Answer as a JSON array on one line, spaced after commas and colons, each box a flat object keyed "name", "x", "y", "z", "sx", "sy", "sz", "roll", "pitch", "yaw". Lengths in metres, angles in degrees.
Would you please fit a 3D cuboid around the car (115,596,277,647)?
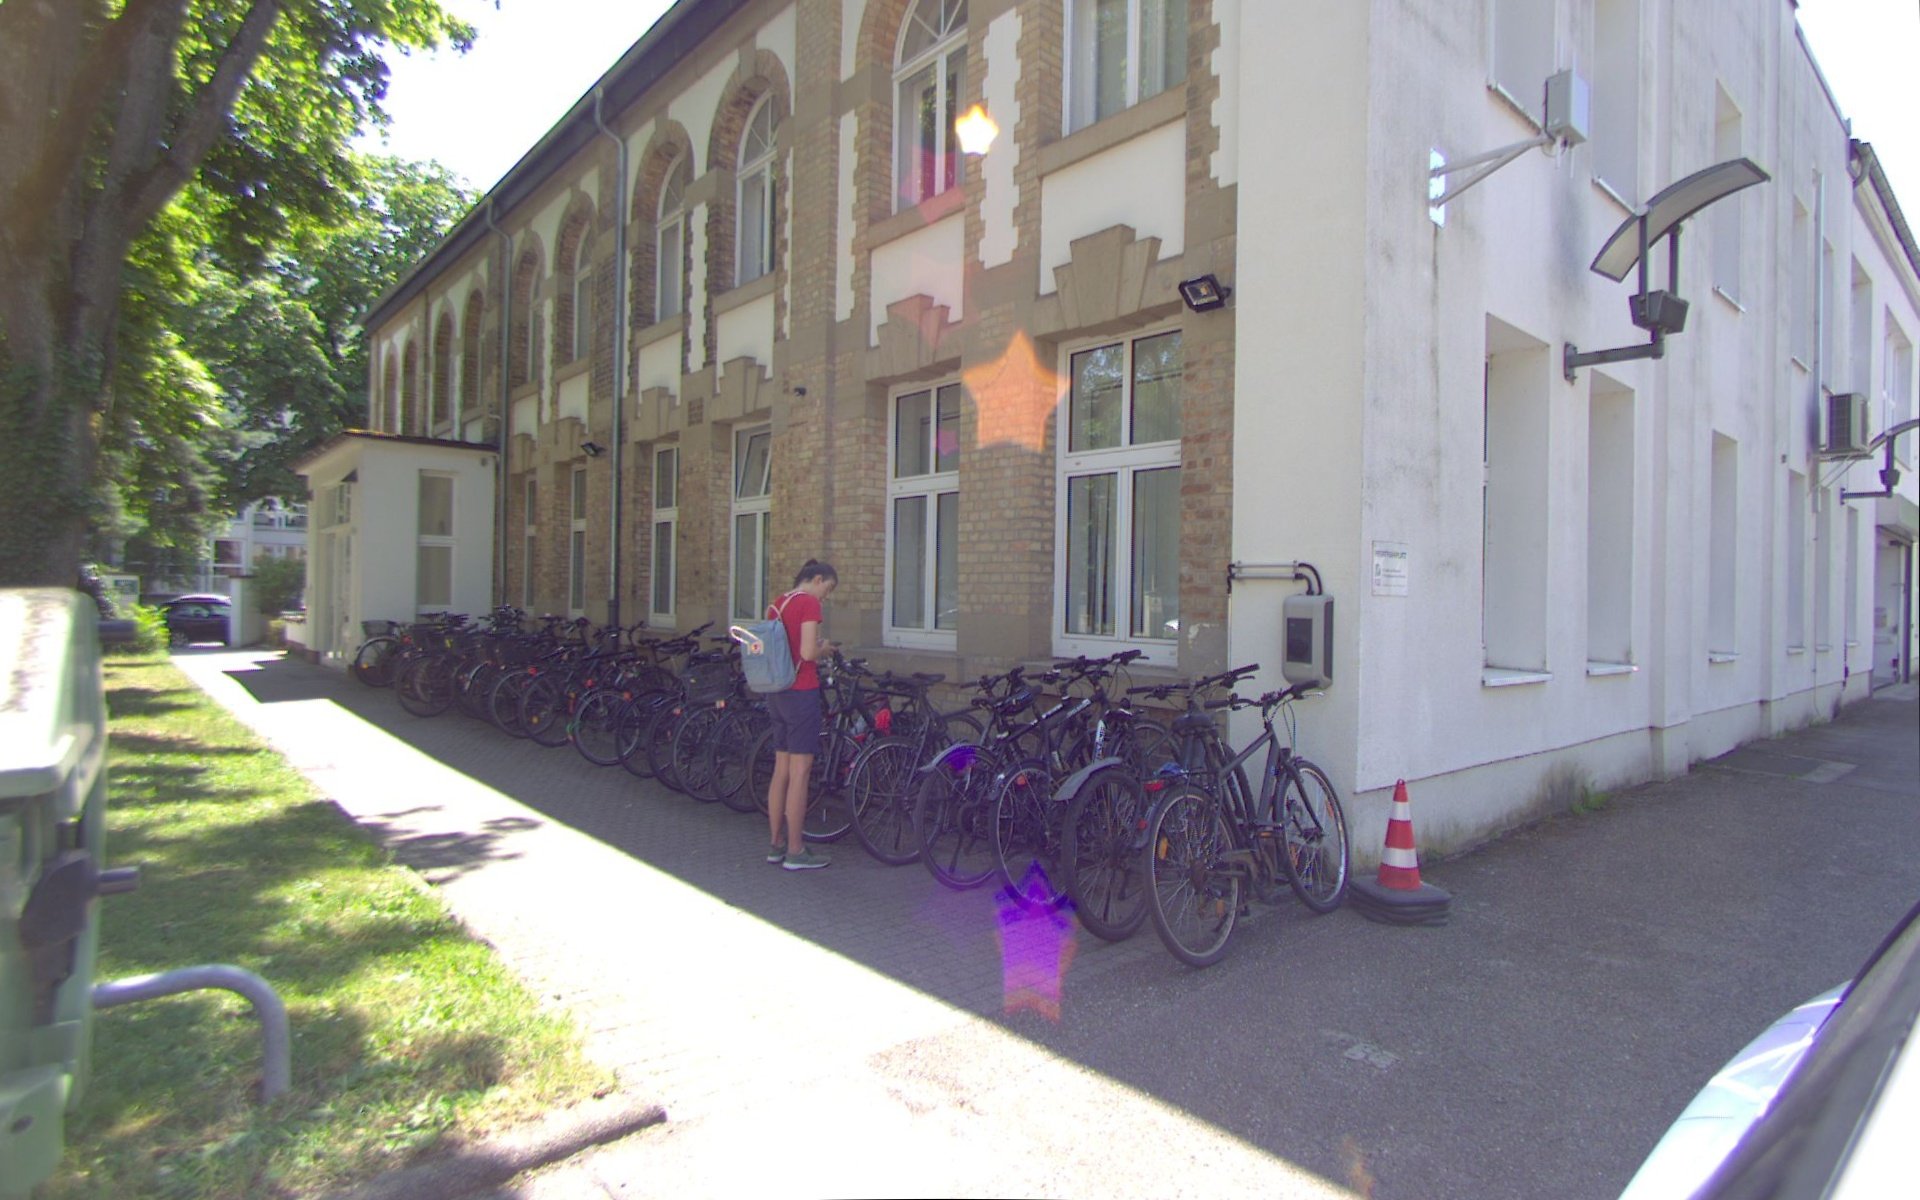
[{"name": "car", "x": -22.455, "y": 0.593, "z": 29.888, "sx": 1.634, "sy": 1.359, "sz": 3.504, "roll": 1, "pitch": 1, "yaw": 22}]

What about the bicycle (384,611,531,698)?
[{"name": "bicycle", "x": -6.970, "y": 0.722, "z": 14.094, "sx": 1.794, "sy": 1.115, "sz": 0.405, "roll": 0, "pitch": 1, "yaw": -41}]

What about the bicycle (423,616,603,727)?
[{"name": "bicycle", "x": -4.938, "y": 0.752, "z": 11.264, "sx": 1.794, "sy": 1.115, "sz": 0.405, "roll": 0, "pitch": 1, "yaw": -41}]

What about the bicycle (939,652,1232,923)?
[{"name": "bicycle", "x": 0.713, "y": 0.874, "z": 5.244, "sx": 1.794, "sy": 1.115, "sz": 0.405, "roll": 0, "pitch": 1, "yaw": -41}]

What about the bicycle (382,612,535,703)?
[{"name": "bicycle", "x": -6.665, "y": 0.733, "z": 13.516, "sx": 1.794, "sy": 1.115, "sz": 0.405, "roll": 0, "pitch": 1, "yaw": -41}]

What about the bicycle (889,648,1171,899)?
[{"name": "bicycle", "x": 0.448, "y": 0.867, "z": 5.596, "sx": 1.794, "sy": 1.115, "sz": 0.405, "roll": 0, "pitch": 1, "yaw": -41}]

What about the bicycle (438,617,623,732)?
[{"name": "bicycle", "x": -4.574, "y": 0.760, "z": 10.869, "sx": 1.794, "sy": 1.115, "sz": 0.405, "roll": 0, "pitch": 1, "yaw": -41}]

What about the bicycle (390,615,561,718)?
[{"name": "bicycle", "x": -5.751, "y": 0.759, "z": 12.088, "sx": 1.794, "sy": 1.115, "sz": 0.405, "roll": 0, "pitch": 1, "yaw": -41}]

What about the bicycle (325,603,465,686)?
[{"name": "bicycle", "x": -8.616, "y": 0.649, "z": 15.494, "sx": 1.795, "sy": 1.115, "sz": 0.405, "roll": -4, "pitch": 3, "yaw": -41}]

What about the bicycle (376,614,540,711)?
[{"name": "bicycle", "x": -6.246, "y": 0.748, "z": 12.668, "sx": 1.794, "sy": 1.115, "sz": 0.405, "roll": 0, "pitch": 1, "yaw": -41}]

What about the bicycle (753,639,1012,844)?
[{"name": "bicycle", "x": -0.450, "y": 0.847, "z": 6.607, "sx": 1.794, "sy": 1.115, "sz": 0.405, "roll": 0, "pitch": 1, "yaw": -41}]

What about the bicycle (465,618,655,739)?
[{"name": "bicycle", "x": -4.086, "y": 0.769, "z": 10.438, "sx": 1.794, "sy": 1.115, "sz": 0.405, "roll": 0, "pitch": 1, "yaw": -41}]

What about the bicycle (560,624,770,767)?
[{"name": "bicycle", "x": -2.587, "y": 0.799, "z": 9.026, "sx": 1.794, "sy": 1.115, "sz": 0.405, "roll": 0, "pitch": 1, "yaw": -41}]

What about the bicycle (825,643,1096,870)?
[{"name": "bicycle", "x": 0.061, "y": 0.858, "z": 6.069, "sx": 1.794, "sy": 1.115, "sz": 0.405, "roll": 0, "pitch": 1, "yaw": -41}]

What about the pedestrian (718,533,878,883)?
[{"name": "pedestrian", "x": -0.890, "y": 0.543, "z": 5.556, "sx": 0.677, "sy": 1.770, "sz": 0.552, "roll": 0, "pitch": 0, "yaw": -39}]

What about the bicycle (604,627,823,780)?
[{"name": "bicycle", "x": -2.022, "y": 0.810, "z": 8.490, "sx": 1.794, "sy": 1.115, "sz": 0.405, "roll": 0, "pitch": 1, "yaw": -41}]

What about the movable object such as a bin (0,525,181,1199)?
[{"name": "movable object such as a bin", "x": -1.776, "y": 0.651, "z": 1.172, "sx": 1.352, "sy": 1.476, "sz": 1.078, "roll": 0, "pitch": 1, "yaw": -40}]

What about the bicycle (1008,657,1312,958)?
[{"name": "bicycle", "x": 1.021, "y": 0.881, "z": 4.828, "sx": 1.794, "sy": 1.115, "sz": 0.405, "roll": 0, "pitch": 1, "yaw": -41}]

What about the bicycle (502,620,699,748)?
[{"name": "bicycle", "x": -3.491, "y": 0.780, "z": 9.944, "sx": 1.794, "sy": 1.115, "sz": 0.405, "roll": 0, "pitch": 1, "yaw": -41}]

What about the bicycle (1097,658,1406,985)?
[{"name": "bicycle", "x": 1.361, "y": 0.865, "z": 4.501, "sx": 1.794, "sy": 1.115, "sz": 0.405, "roll": 0, "pitch": 1, "yaw": -41}]

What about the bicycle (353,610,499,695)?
[{"name": "bicycle", "x": -7.555, "y": 0.715, "z": 14.371, "sx": 1.794, "sy": 1.115, "sz": 0.405, "roll": 0, "pitch": 1, "yaw": -41}]

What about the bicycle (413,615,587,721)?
[{"name": "bicycle", "x": -5.267, "y": 0.744, "z": 11.670, "sx": 1.794, "sy": 1.115, "sz": 0.405, "roll": 0, "pitch": 1, "yaw": -41}]

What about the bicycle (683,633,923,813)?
[{"name": "bicycle", "x": -1.096, "y": 0.831, "z": 7.390, "sx": 1.794, "sy": 1.115, "sz": 0.405, "roll": 0, "pitch": 1, "yaw": -41}]

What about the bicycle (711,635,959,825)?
[{"name": "bicycle", "x": -0.819, "y": 0.838, "z": 7.046, "sx": 1.794, "sy": 1.115, "sz": 0.405, "roll": 0, "pitch": 1, "yaw": -41}]

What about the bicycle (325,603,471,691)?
[{"name": "bicycle", "x": -8.217, "y": 0.661, "z": 14.858, "sx": 1.795, "sy": 1.115, "sz": 0.405, "roll": -4, "pitch": 3, "yaw": -41}]

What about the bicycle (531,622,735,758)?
[{"name": "bicycle", "x": -3.002, "y": 0.790, "z": 9.426, "sx": 1.794, "sy": 1.115, "sz": 0.405, "roll": 0, "pitch": 1, "yaw": -41}]

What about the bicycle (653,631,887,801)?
[{"name": "bicycle", "x": -1.401, "y": 0.825, "z": 7.724, "sx": 1.794, "sy": 1.115, "sz": 0.405, "roll": 0, "pitch": 1, "yaw": -41}]
